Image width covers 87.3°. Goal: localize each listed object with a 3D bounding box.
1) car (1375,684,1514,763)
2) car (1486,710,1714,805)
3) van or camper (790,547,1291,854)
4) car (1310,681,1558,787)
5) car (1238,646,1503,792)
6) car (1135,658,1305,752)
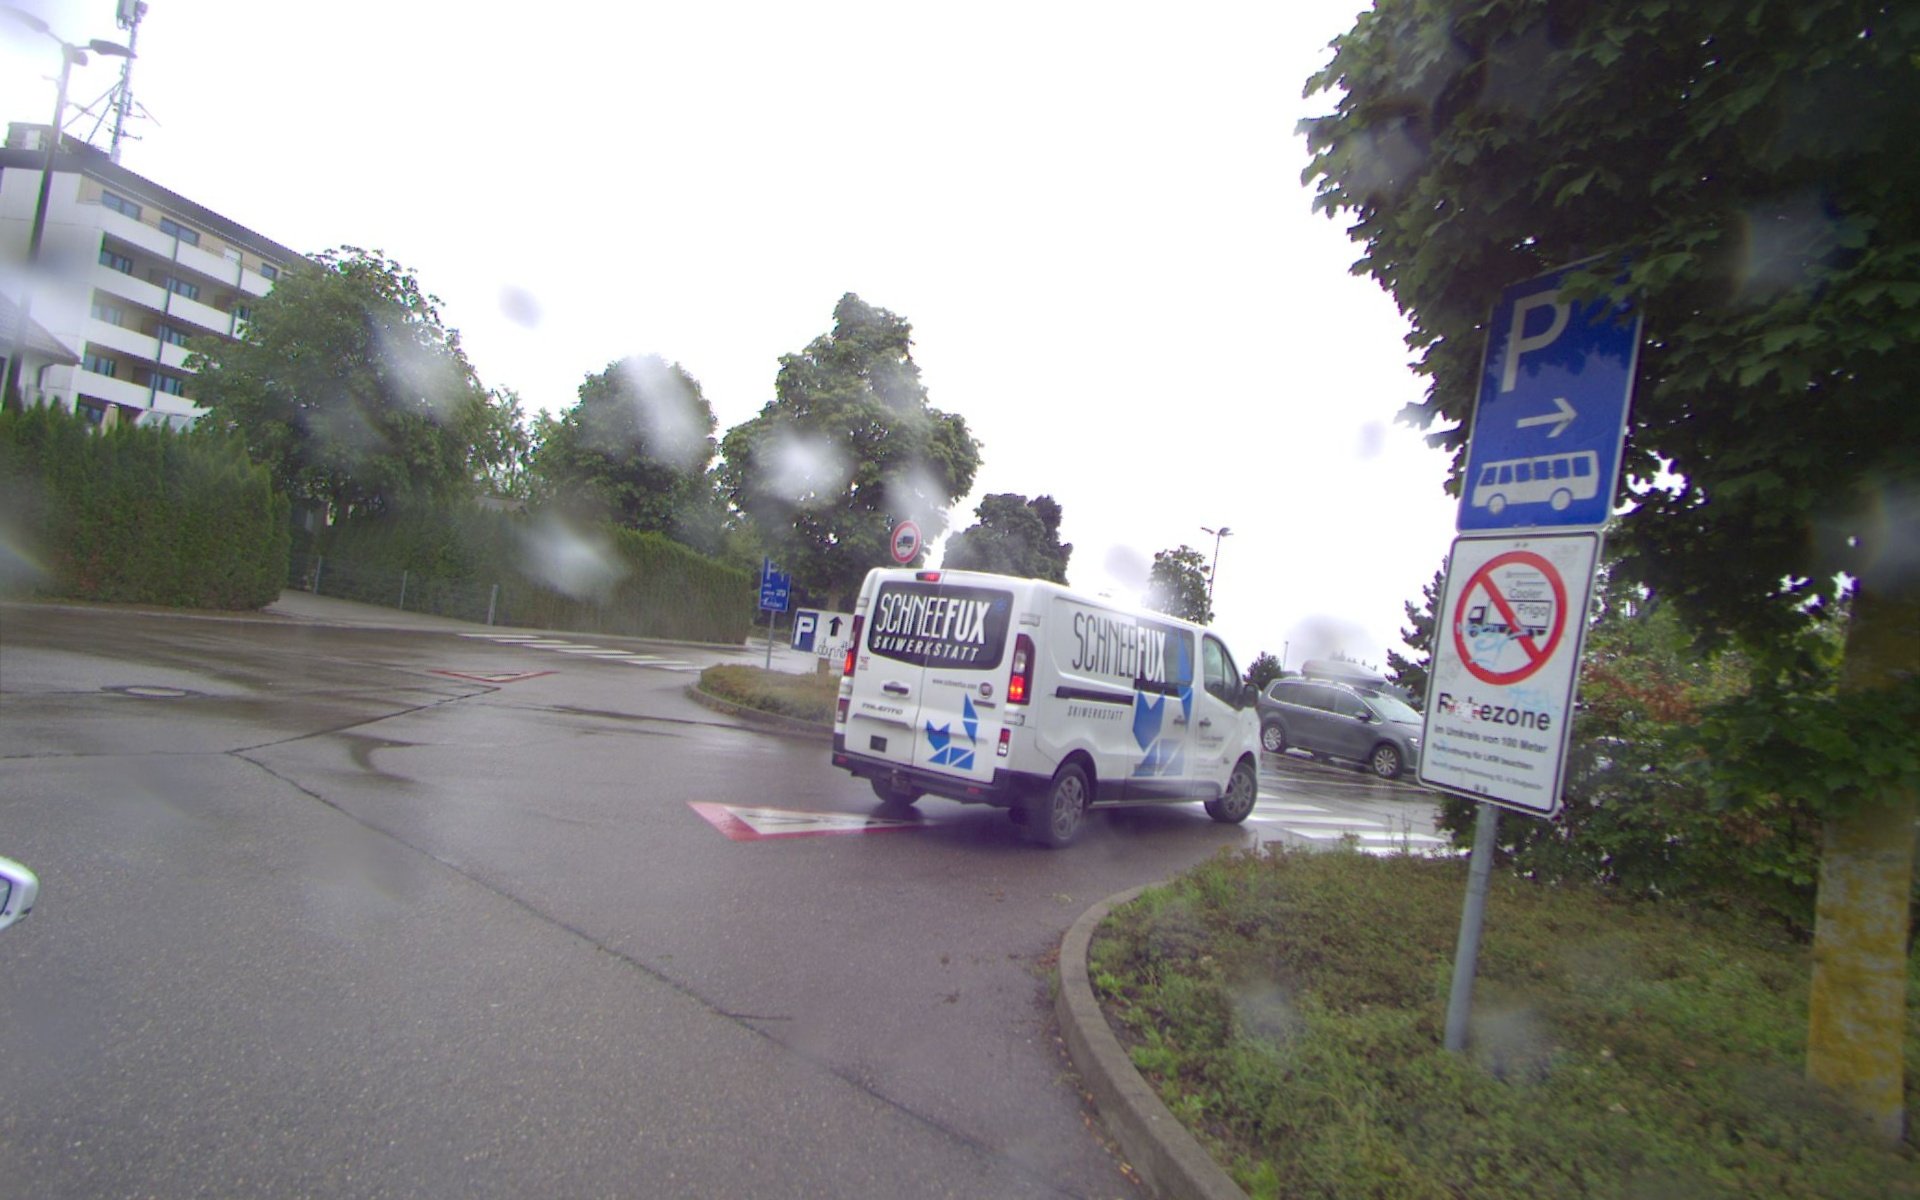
[{"bbox_3d":[16.618,4.204,34.643,1.771,2.037,3.752,9,-1,-34],"label":"car"},{"bbox_3d":[17.223,4.207,27.352,1.979,1.606,4.731,8,-1,-30],"label":"car"},{"bbox_3d":[1.127,0.965,9.508,2.161,1.966,5.187,6,-4,36],"label":"van or camper"},{"bbox_3d":[10.514,2.947,22.712,1.866,1.490,4.731,8,-1,-30],"label":"car"},{"bbox_3d":[8.445,2.394,21.201,1.979,2.214,4.731,8,-1,-30],"label":"car"},{"bbox_3d":[7.285,2.915,28.621,1.907,1.908,4.362,8,-1,-33],"label":"car"}]
